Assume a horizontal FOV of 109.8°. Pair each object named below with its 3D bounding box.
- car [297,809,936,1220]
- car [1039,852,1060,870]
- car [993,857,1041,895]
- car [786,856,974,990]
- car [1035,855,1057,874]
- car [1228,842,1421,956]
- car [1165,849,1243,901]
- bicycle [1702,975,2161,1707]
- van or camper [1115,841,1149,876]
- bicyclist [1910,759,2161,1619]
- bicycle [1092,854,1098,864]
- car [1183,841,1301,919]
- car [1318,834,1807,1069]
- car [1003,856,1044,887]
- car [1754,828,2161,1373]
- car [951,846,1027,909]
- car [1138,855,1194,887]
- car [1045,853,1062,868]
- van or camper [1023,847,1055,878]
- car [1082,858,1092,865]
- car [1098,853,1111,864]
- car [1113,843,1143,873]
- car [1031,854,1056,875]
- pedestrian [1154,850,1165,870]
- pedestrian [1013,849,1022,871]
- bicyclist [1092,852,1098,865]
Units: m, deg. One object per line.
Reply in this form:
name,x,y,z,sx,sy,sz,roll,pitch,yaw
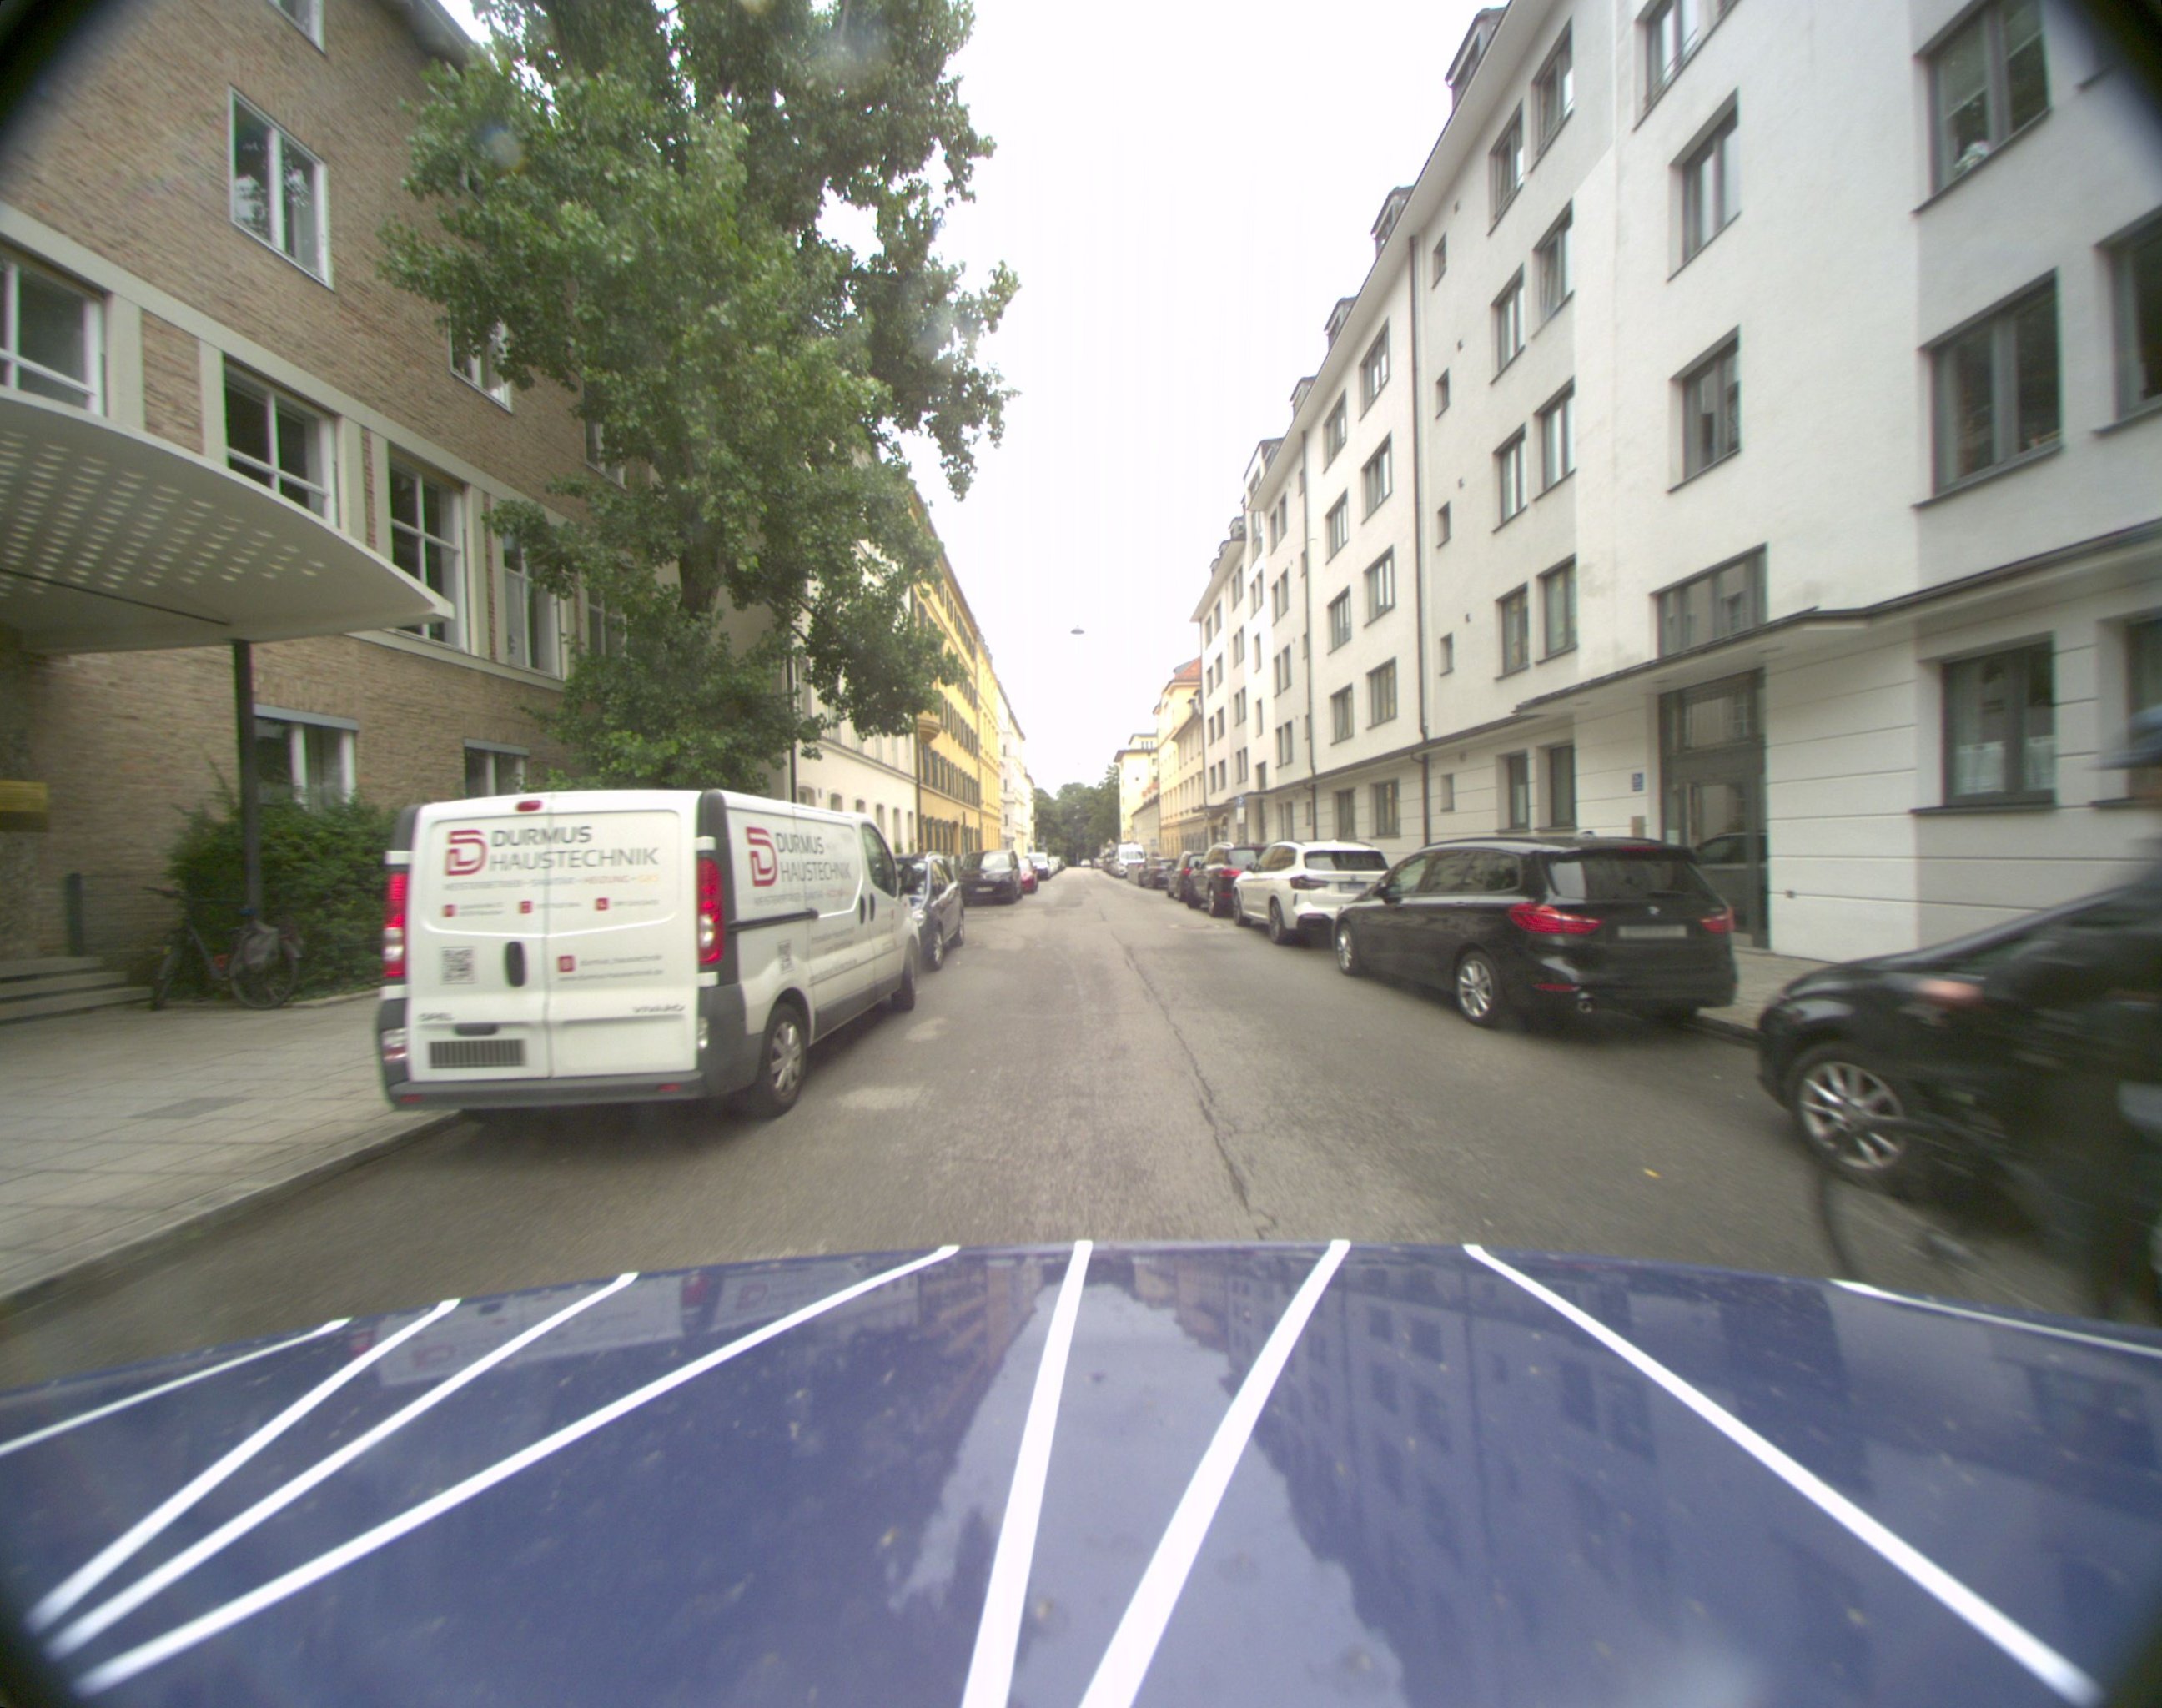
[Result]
car,-2.678,0.756,6.044,1.886,1.913,4.875,-2,0,2
car,-2.868,0.613,69.283,1.721,1.501,4.468,-1,0,0
car,-2.665,0.889,32.483,1.718,1.415,4.456,-2,1,-1
car,-2.819,0.879,11.666,1.812,1.591,4.214,-2,0,-1
car,-2.845,0.849,62.750,1.627,1.501,3.761,-1,0,-1
car,3.985,0.664,13.348,1.877,1.648,4.590,0,0,-1
car,3.858,0.640,24.515,1.778,1.530,4.158,0,0,-1
bicycle,2.252,0.990,1.419,0.650,1.190,1.950,-1,1,2
van or camper,3.496,0.277,53.072,1.998,2.298,5.478,-1,0,0
bicyclist,2.251,0.595,1.319,0.658,1.542,0.887,-1,1,3
bicycle,1.828,0.644,98.056,0.734,1.144,1.999,-2,0,-1
car,3.784,0.569,18.692,1.877,1.678,4.520,0,0,-1
car,4.148,0.694,7.682,1.877,1.648,4.589,0,0,-3
car,-2.915,0.868,39.252,1.750,1.455,4.000,-2,0,0
car,4.206,0.740,1.646,1.877,1.648,4.080,0,0,0
car,-2.950,0.697,25.264,1.851,1.766,4.200,-4,1,0
car,3.770,0.721,34.327,1.644,1.346,4.056,0,0,-7
car,-2.947,0.661,81.261,1.721,1.592,4.322,-1,0,-2
van or camper,-2.864,0.536,53.056,1.999,2.002,5.232,-1,0,-1
car,1.169,1.421,146.270,1.793,1.409,3.905,0,0,-1
car,3.352,0.692,109.895,1.711,1.490,3.999,-1,0,-1
car,3.598,0.281,58.746,1.862,2.188,4.560,-2,0,-2
car,-2.831,0.802,58.074,1.821,1.501,4.586,-1,0,-2
pedestrian,6.950,0.534,67.477,0.807,1.702,1.021,-2,0,1
pedestrian,-4.745,0.450,57.008,0.598,1.629,0.896,1,0,-2
bicyclist,1.836,0.620,97.926,0.688,1.618,0.853,-2,1,-1
